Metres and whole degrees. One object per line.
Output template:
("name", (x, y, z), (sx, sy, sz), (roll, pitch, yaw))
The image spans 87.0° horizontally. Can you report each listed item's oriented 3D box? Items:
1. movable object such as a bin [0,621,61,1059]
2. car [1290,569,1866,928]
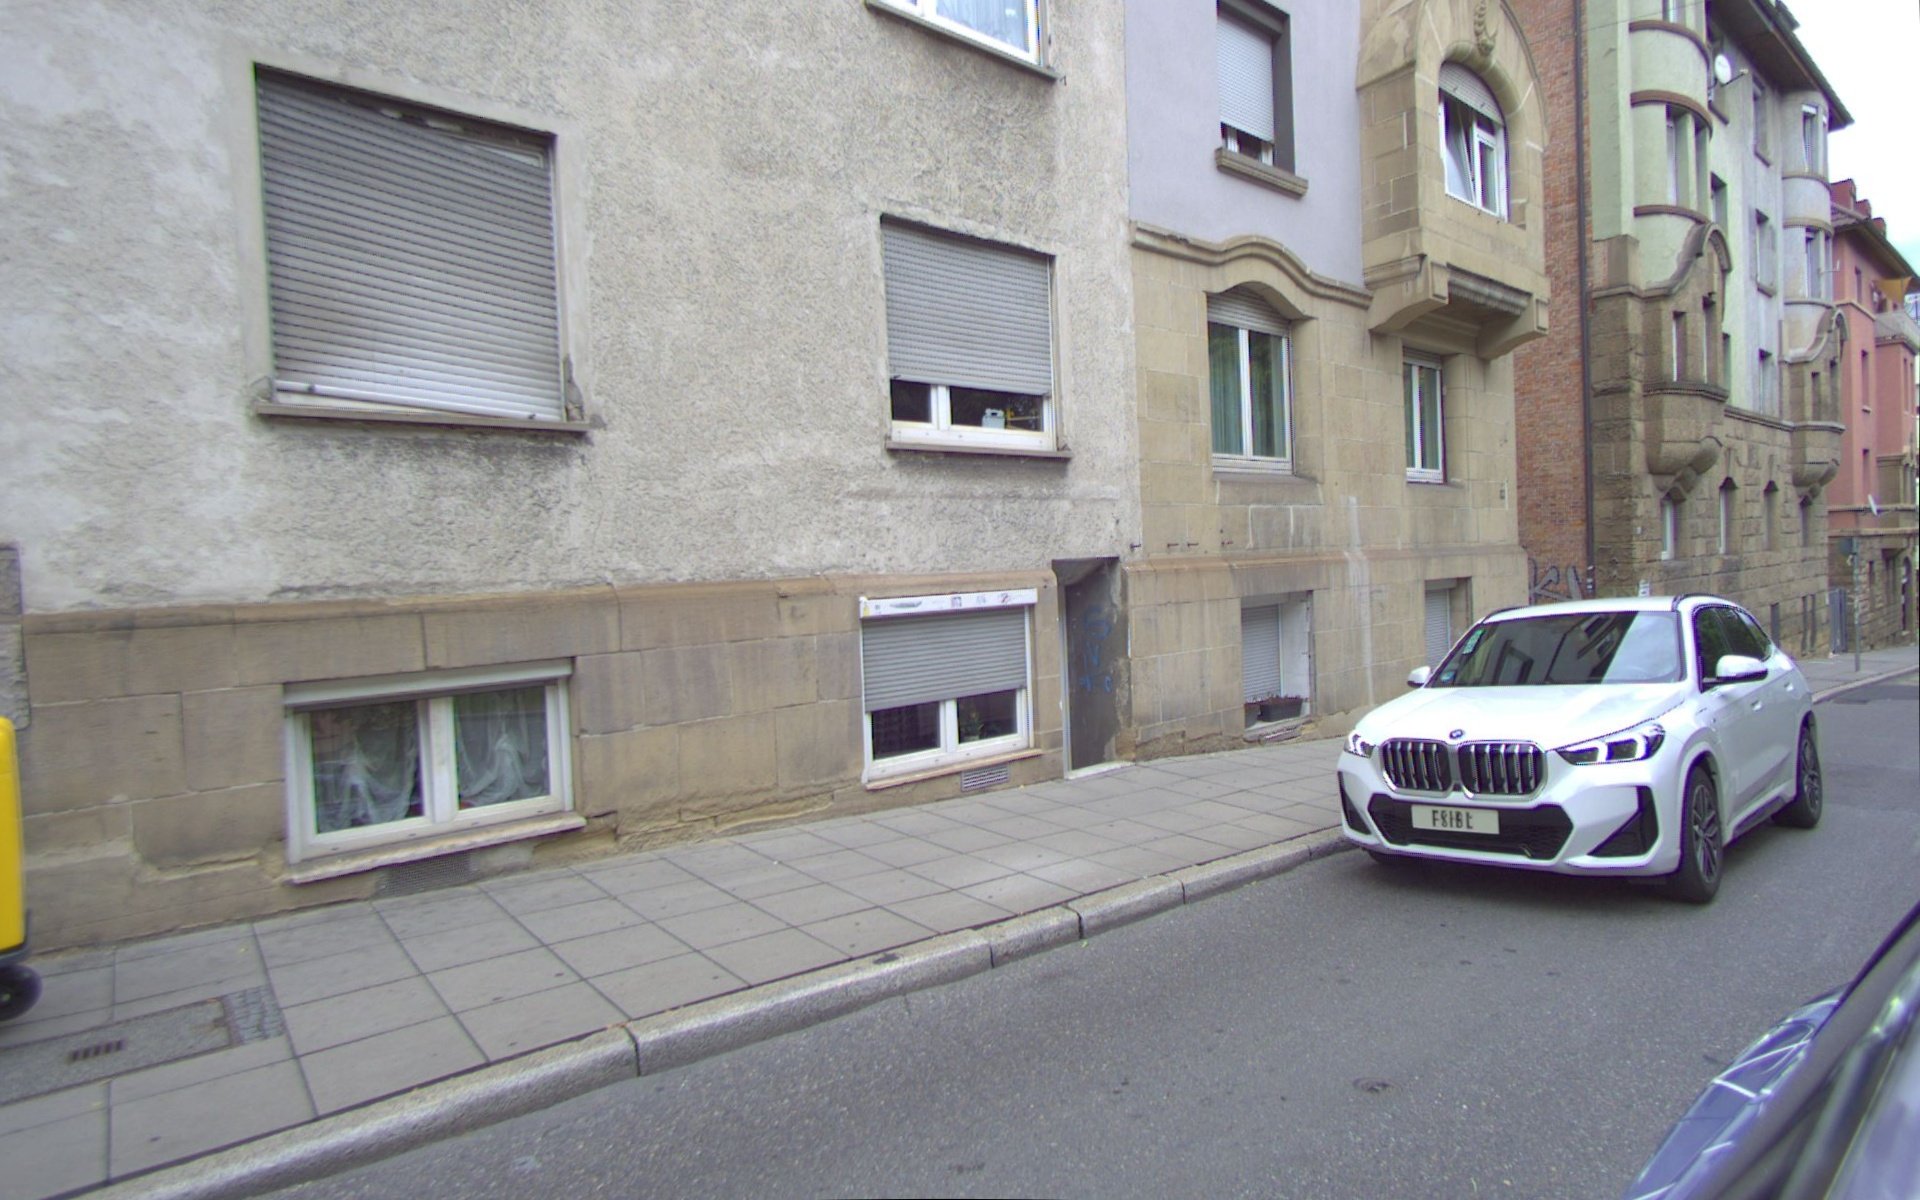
("movable object such as a bin", (-3.959, 0.825, 3.184), (1.664, 1.438, 0.720), (-1, 1, -42))
("car", (4.321, 0.737, 6.767), (4.482, 1.626, 1.852), (0, -5, -40))
